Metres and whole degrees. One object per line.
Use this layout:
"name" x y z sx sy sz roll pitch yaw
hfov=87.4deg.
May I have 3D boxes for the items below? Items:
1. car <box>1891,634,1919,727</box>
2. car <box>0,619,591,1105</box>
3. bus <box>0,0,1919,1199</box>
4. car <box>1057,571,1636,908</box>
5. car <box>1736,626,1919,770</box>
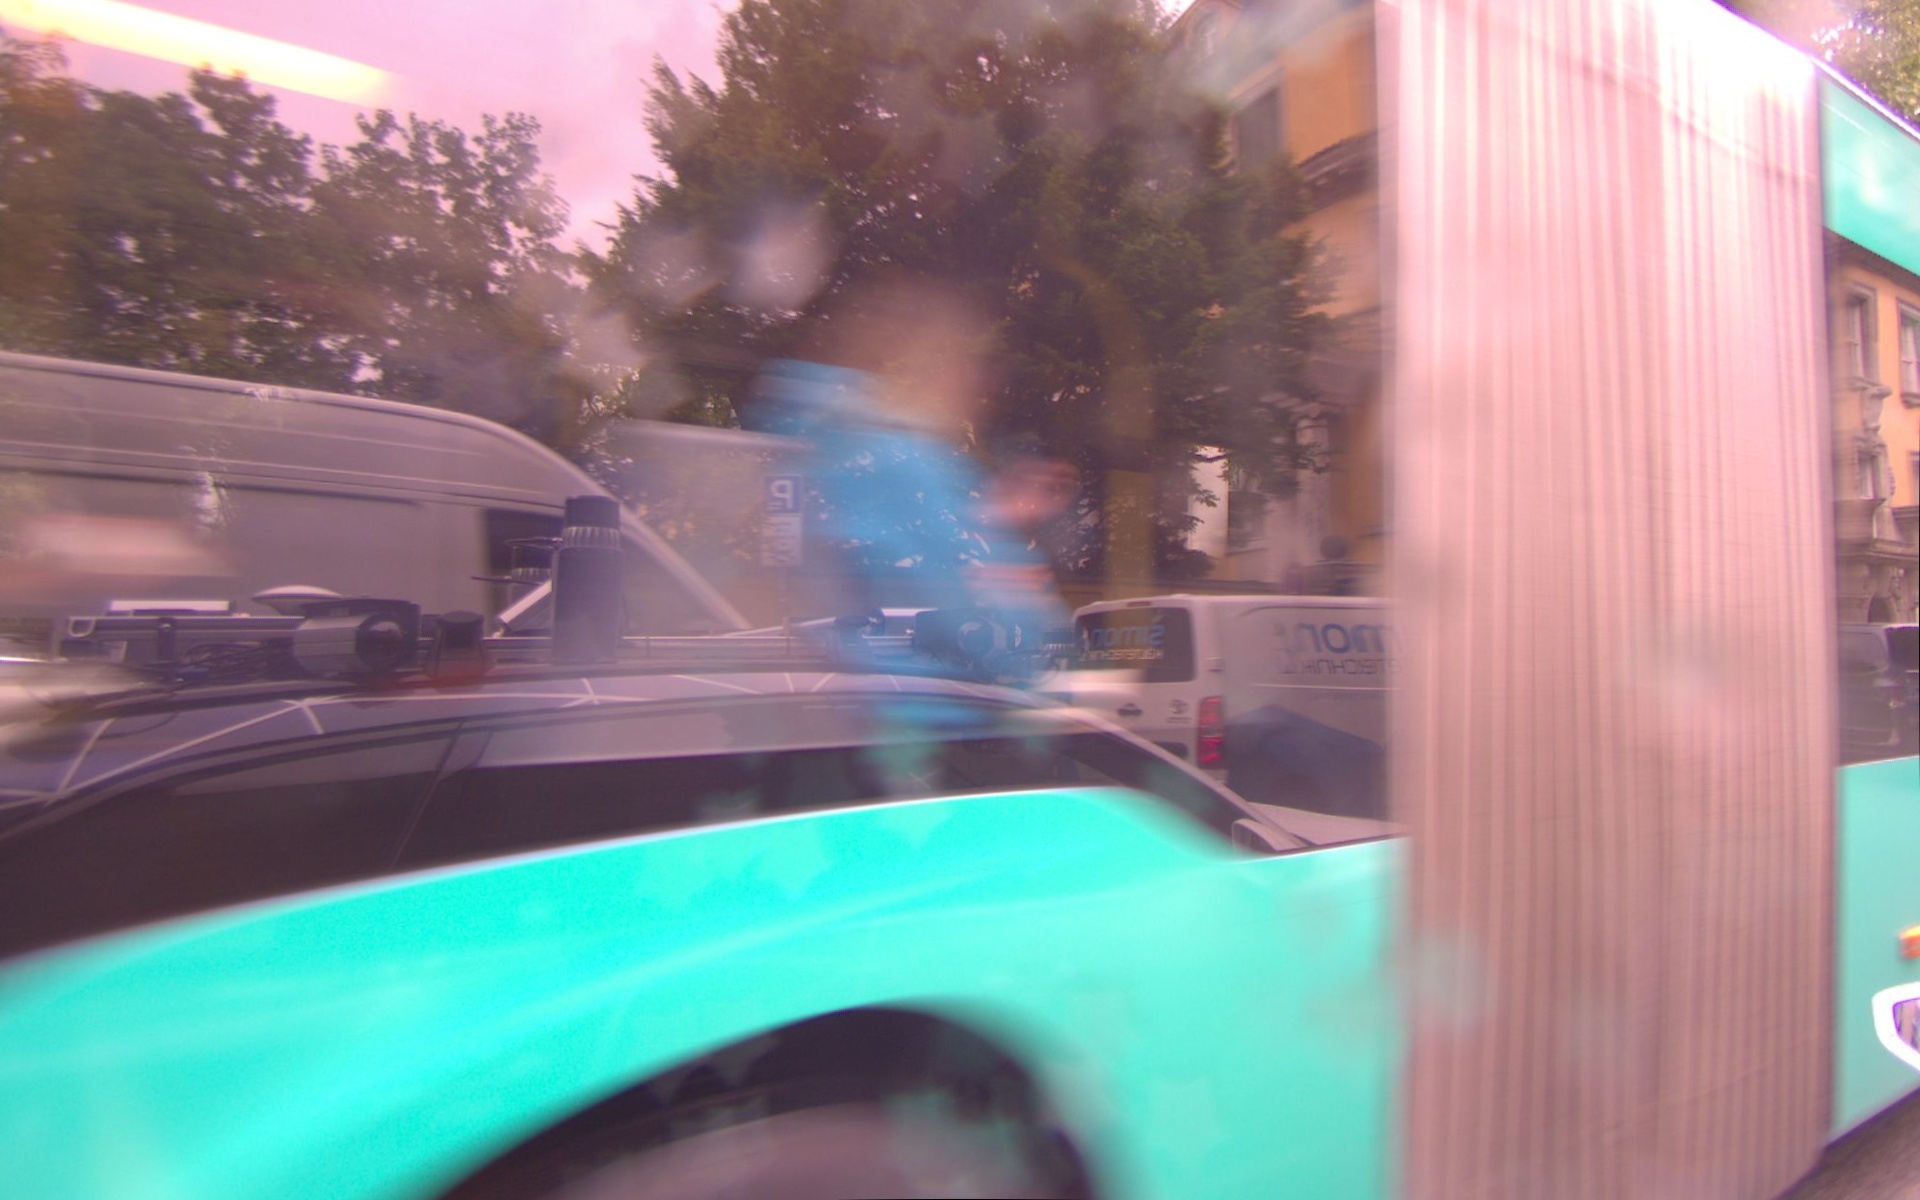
"car" 17.460 1.356 16.869 4.058 1.488 1.663 2 -2 -32
"car" -3.785 0.799 3.551 4.493 1.457 1.783 1 -2 -27
"bus" -0.175 -0.097 2.326 18.215 3.281 2.845 3 -2 -31
"car" 3.073 0.872 7.646 4.497 1.902 1.775 2 -2 -32
"car" 12.385 1.204 13.386 4.533 1.618 1.775 2 -2 -32
